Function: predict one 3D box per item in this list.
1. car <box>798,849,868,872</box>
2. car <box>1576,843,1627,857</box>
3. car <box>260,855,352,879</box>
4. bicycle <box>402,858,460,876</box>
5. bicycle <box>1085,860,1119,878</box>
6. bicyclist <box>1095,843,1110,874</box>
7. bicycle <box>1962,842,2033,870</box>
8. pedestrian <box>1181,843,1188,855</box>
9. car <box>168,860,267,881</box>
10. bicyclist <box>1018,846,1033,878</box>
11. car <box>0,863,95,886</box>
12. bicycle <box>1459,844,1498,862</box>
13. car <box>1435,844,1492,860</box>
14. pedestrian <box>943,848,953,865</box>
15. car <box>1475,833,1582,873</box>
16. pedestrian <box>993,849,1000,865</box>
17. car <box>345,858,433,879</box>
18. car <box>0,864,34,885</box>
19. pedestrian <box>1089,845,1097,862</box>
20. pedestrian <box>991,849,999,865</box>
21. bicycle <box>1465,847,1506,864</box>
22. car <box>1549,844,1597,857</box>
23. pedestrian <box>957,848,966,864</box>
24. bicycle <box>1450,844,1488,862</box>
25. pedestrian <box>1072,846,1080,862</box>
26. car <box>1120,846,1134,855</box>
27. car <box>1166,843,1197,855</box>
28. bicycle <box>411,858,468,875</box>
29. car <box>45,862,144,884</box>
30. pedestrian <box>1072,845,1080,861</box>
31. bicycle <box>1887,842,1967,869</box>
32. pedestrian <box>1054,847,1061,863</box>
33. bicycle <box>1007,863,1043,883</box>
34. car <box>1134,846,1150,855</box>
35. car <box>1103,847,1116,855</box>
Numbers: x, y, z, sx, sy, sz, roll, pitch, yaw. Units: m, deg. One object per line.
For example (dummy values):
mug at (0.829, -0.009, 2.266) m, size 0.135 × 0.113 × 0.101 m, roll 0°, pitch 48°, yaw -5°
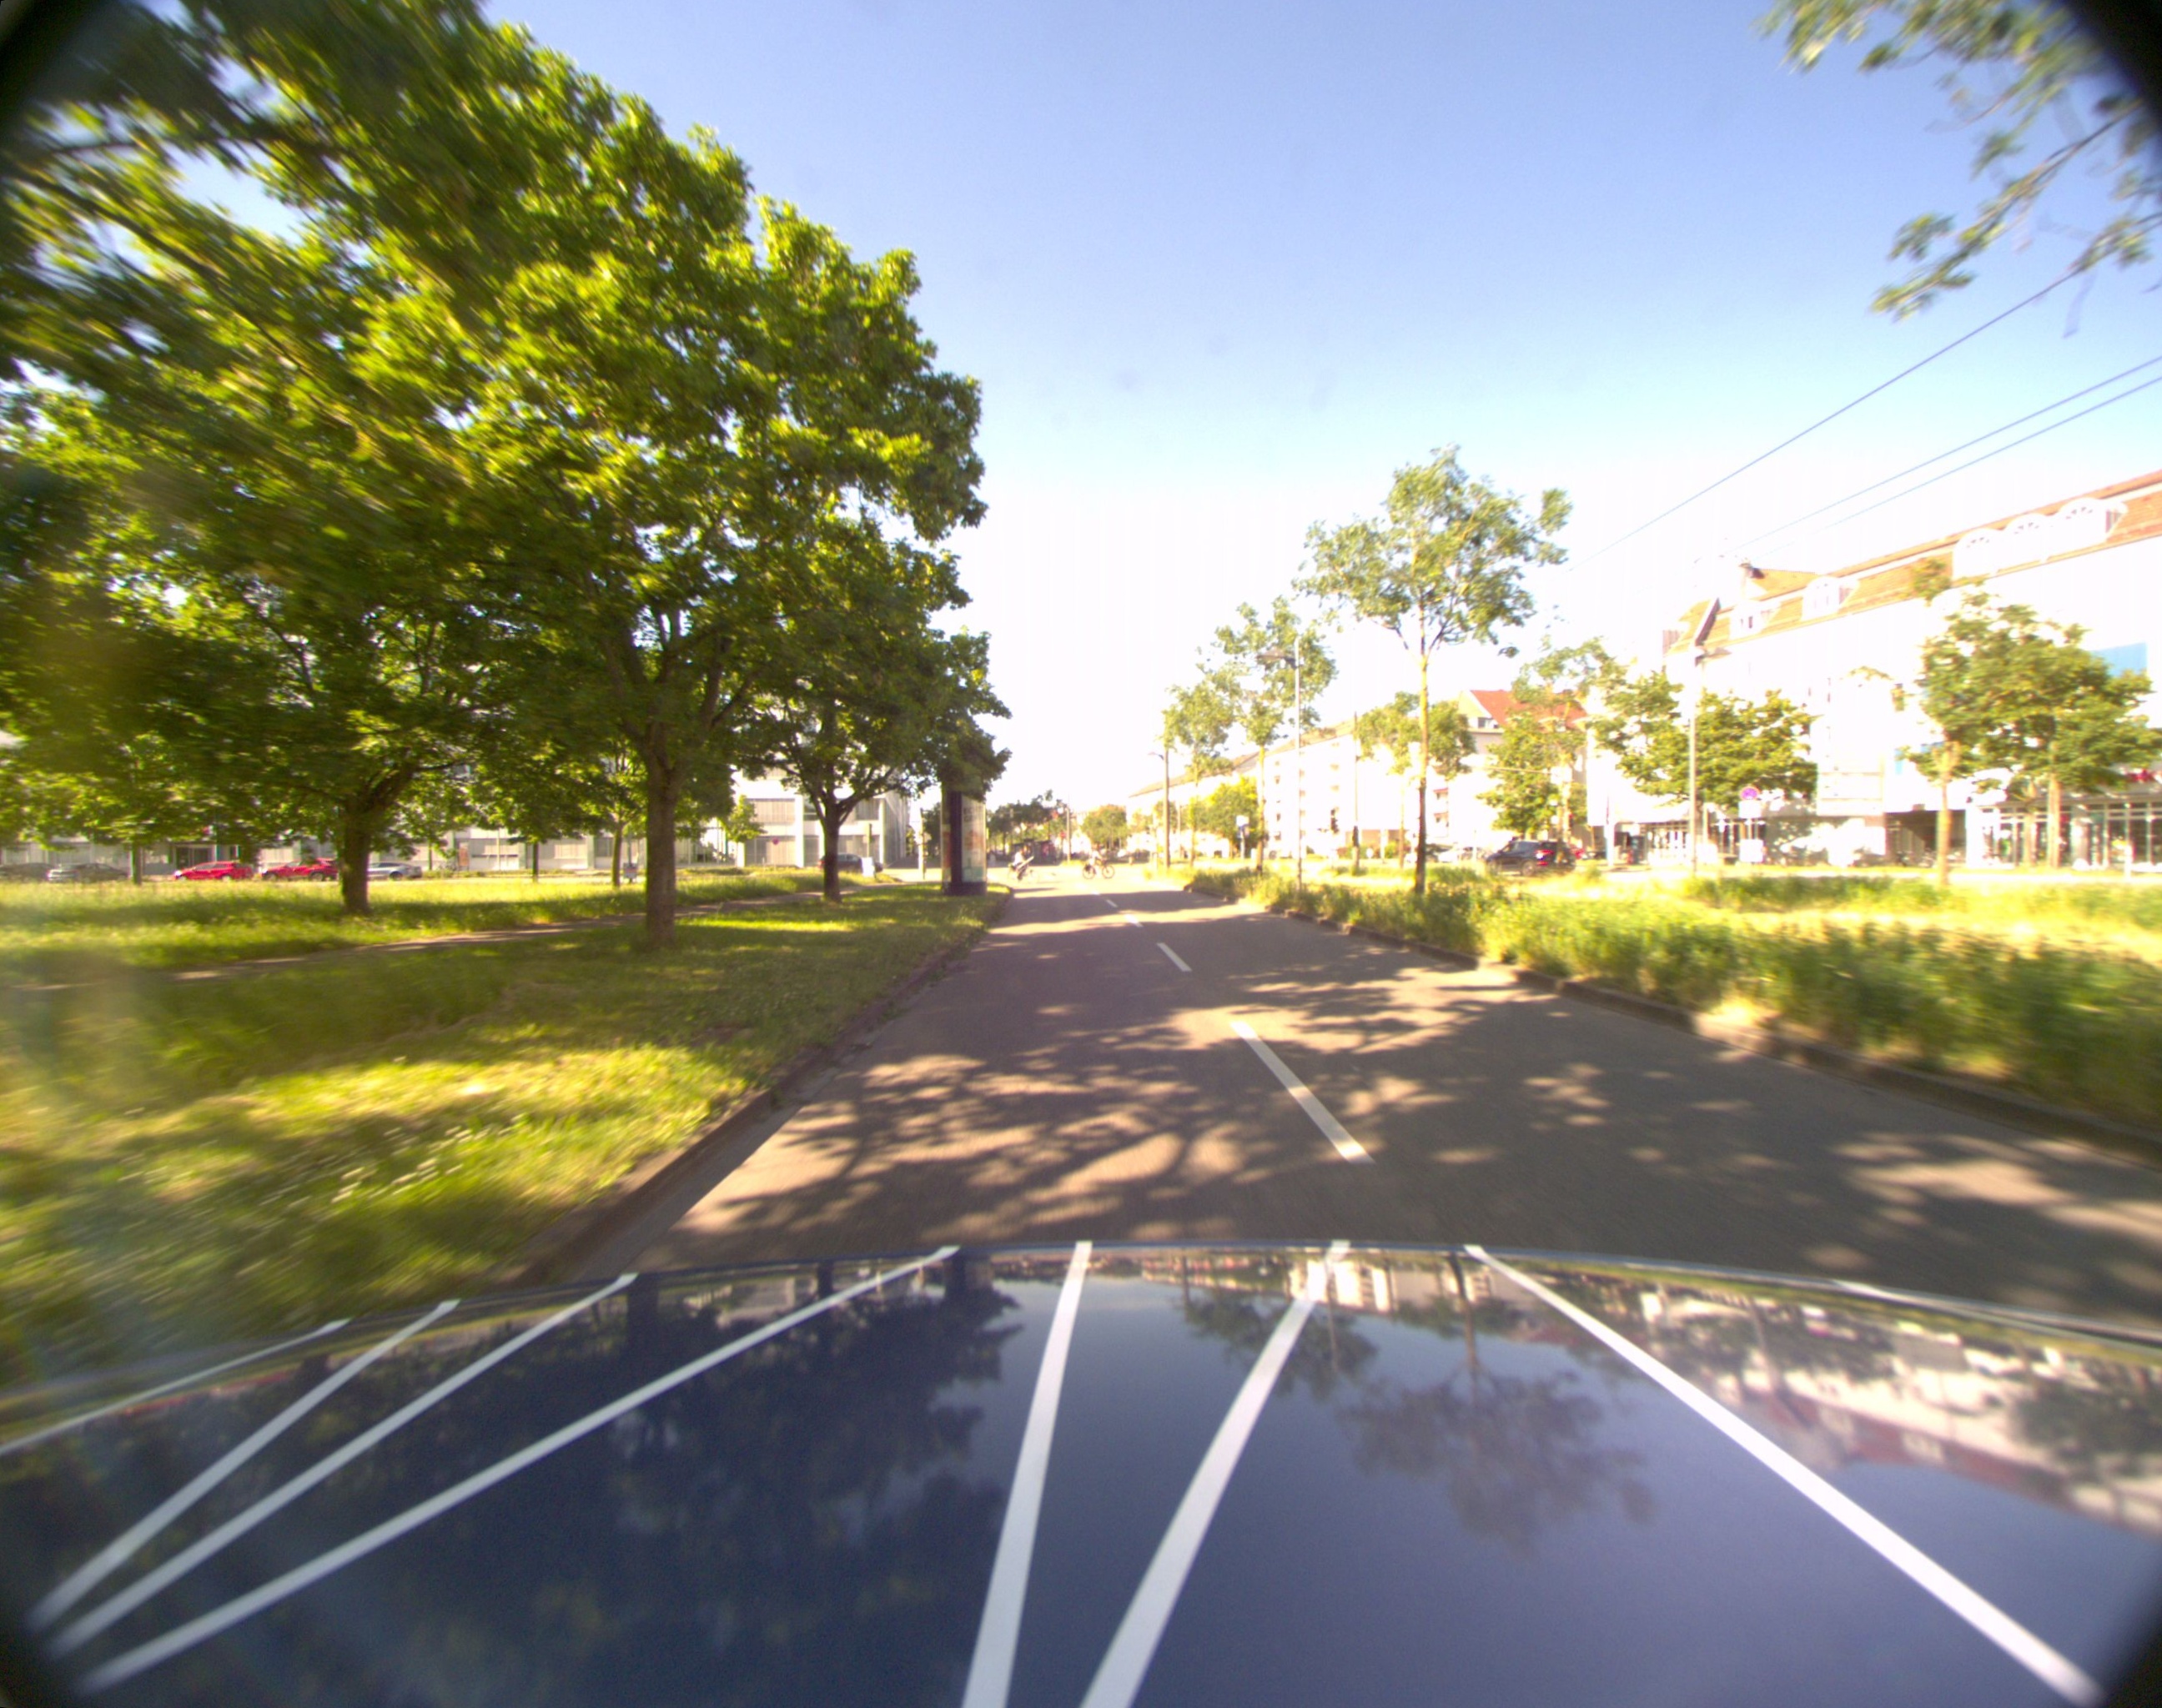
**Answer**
car at (-18.273, 0.460, 56.185) m, size 4.632 × 1.613 × 1.998 m, roll -1°, pitch 1°, yaw -10°
car at (50.434, -0.366, 73.623) m, size 4.091 × 1.303 × 1.701 m, roll -1°, pitch 1°, yaw -13°
car at (-56.470, 0.932, 55.461) m, size 4.289 × 1.585 × 1.917 m, roll -1°, pitch 1°, yaw -14°
bicycle at (-52.752, 1.047, 61.711) m, size 3.536 × 1.340 × 0.989 m, roll -1°, pitch 1°, yaw -12°
bicycle at (1.171, 0.805, 42.304) m, size 1.828 × 0.958 × 0.816 m, roll -1°, pitch 1°, yaw -5°
bicyclist at (1.188, 0.244, 42.297) m, size 0.715 × 1.682 × 0.816 m, roll -1°, pitch 1°, yaw -5°
bicycle at (41.056, 0.071, 34.034) m, size 2.552 × 1.206 × 0.719 m, roll -1°, pitch 1°, yaw -6°
pedestrian at (15.068, -0.761, 110.877) m, size 0.786 × 1.701 × 0.703 m, roll -1°, pitch 1°, yaw -12°
car at (-61.525, 1.151, 54.239) m, size 4.289 × 1.412 × 1.917 m, roll -1°, pitch 1°, yaw -14°
bicyclist at (-2.864, 0.404, 39.202) m, size 0.715 × 1.591 × 0.849 m, roll -1°, pitch 1°, yaw -5°
car at (-71.637, 1.398, 52.551) m, size 1.920 × 1.412 × 4.282 m, roll -1°, pitch 0°, yaw -13°
bicycle at (28.594, -0.073, 54.717) m, size 2.580 × 1.302 × 0.662 m, roll -1°, pitch 1°, yaw -7°
car at (35.599, -0.187, 70.757) m, size 4.190 × 1.457 × 2.332 m, roll -1°, pitch 1°, yaw -13°
pedestrian at (-13.535, 0.264, 77.487) m, size 0.732 × 1.687 × 0.736 m, roll -1°, pitch 1°, yaw 11°
car at (19.687, -0.056, 33.661) m, size 1.825 × 1.631 × 4.486 m, roll -1°, pitch 0°, yaw -5°
pedestrian at (-8.814, 0.298, 79.073) m, size 0.733 × 1.687 × 0.735 m, roll -1°, pitch 1°, yaw -5°
car at (-50.009, 1.024, 55.025) m, size 4.289 × 1.412 × 1.917 m, roll -1°, pitch 1°, yaw -14°
car at (-75.130, 1.417, 52.124) m, size 1.661 × 1.412 × 4.005 m, roll -1°, pitch 0°, yaw -13°
pedestrian at (1.244, -0.064, 79.005) m, size 0.723 × 1.687 × 0.608 m, roll -1°, pitch 1°, yaw -5°
pedestrian at (-9.065, 0.288, 80.075) m, size 0.733 × 1.687 × 0.735 m, roll -1°, pitch 1°, yaw -5°
bicycle at (28.637, 0.088, 53.760) m, size 2.580 × 1.152 × 0.783 m, roll -1°, pitch 1°, yaw -7°
car at (49.659, -0.348, 76.706) m, size 4.091 × 1.303 × 1.701 m, roll -1°, pitch 1°, yaw -13°
pedestrian at (-12.724, 0.159, 80.999) m, size 0.882 × 1.687 × 0.735 m, roll -1°, pitch 1°, yaw -5°
bicycle at (28.477, -0.065, 55.766) m, size 2.580 × 1.302 × 0.662 m, roll -1°, pitch 1°, yaw -7°
pedestrian at (-0.513, 0.035, 82.071) m, size 0.733 × 1.687 × 0.735 m, roll -1°, pitch 1°, yaw -5°
car at (8.998, -0.697, 149.970) m, size 1.694 × 1.700 × 4.236 m, roll -1°, pitch 0°, yaw -12°
car at (14.785, -0.755, 111.938) m, size 4.232 × 1.700 × 1.696 m, roll -1°, pitch 1°, yaw 20°
bicycle at (-52.943, 1.034, 62.747) m, size 3.536 × 1.340 × 0.989 m, roll -1°, pitch 1°, yaw -12°
car at (-68.864, 1.286, 53.171) m, size 1.920 × 1.412 × 4.282 m, roll -1°, pitch 0°, yaw -13°
pedestrian at (-0.533, -0.117, 83.037) m, size 0.733 × 1.687 × 0.735 m, roll -1°, pitch 1°, yaw -5°
bicycle at (39.689, 0.059, 35.701) m, size 0.719 × 1.206 × 2.551 m, roll -1°, pitch 0°, yaw -6°
pedestrian at (-2.501, 0.096, 80.331) m, size 0.641 × 1.687 × 0.607 m, roll -1°, pitch 1°, yaw -10°
bicycle at (-2.870, 0.971, 39.208) m, size 1.828 × 0.958 × 0.855 m, roll -1°, pitch 1°, yaw -4°
car at (11.197, -0.648, 139.695) m, size 1.694 × 1.700 × 4.236 m, roll -1°, pitch 0°, yaw -12°
car at (6.149, -0.570, 165.070) m, size 1.834 × 1.700 × 4.236 m, roll -1°, pitch 0°, yaw -12°
